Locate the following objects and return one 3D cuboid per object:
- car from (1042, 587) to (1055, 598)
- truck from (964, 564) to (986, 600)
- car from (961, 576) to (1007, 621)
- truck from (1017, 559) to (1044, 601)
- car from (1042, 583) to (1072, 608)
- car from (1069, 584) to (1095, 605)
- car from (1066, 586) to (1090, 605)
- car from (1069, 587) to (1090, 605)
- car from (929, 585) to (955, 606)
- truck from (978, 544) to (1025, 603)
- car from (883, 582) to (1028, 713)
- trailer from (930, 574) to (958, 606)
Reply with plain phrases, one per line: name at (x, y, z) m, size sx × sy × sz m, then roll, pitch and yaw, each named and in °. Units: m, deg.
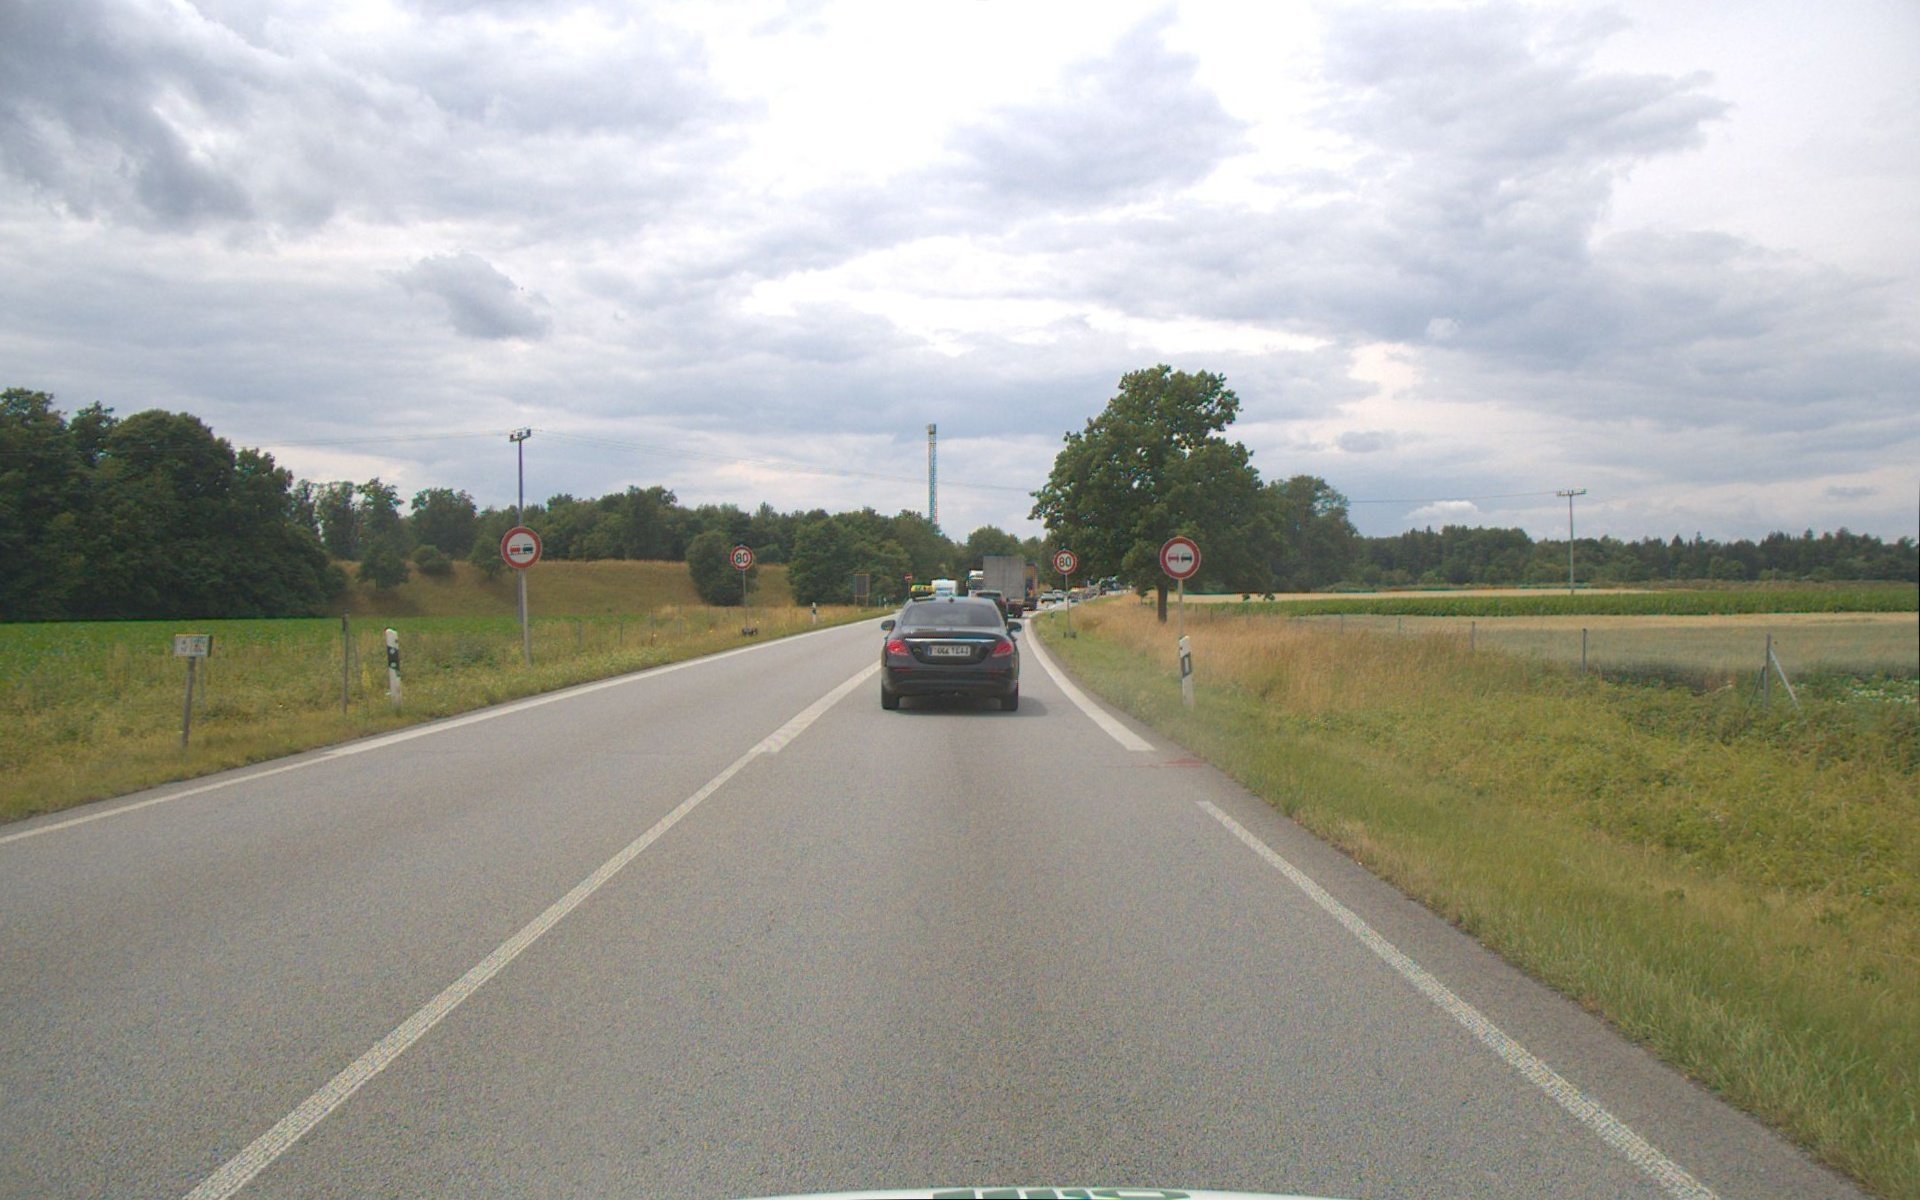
car at (11.378, -0.988, 213.673) m, size 1.615 × 1.420 × 3.707 m, roll 1°, pitch 0°, yaw 3°
truck at (1.766, -2.120, 194.799) m, size 2.438 × 4.065 × 5.206 m, roll 0°, pitch 0°, yaw 2°
car at (1.137, -0.045, 79.157) m, size 1.953 × 2.049 × 3.998 m, roll 1°, pitch 0°, yaw -2°
truck at (6.140, -1.705, 144.695) m, size 1.953 × 3.587 × 4.590 m, roll 1°, pitch 0°, yaw -2°
car at (6.926, -0.290, 118.410) m, size 1.759 × 1.691 × 3.998 m, roll 1°, pitch 0°, yaw -2°
car at (10.181, -0.425, 138.124) m, size 1.759 × 1.691 × 3.998 m, roll 1°, pitch 0°, yaw -2°
car at (10.927, -0.365, 153.354) m, size 1.759 × 1.691 × 3.998 m, roll 1°, pitch 0°, yaw -2°
car at (12.018, -0.413, 166.543) m, size 1.759 × 1.691 × 3.998 m, roll 1°, pitch 0°, yaw -2°
car at (-1.470, -0.357, 135.980) m, size 1.965 × 1.686 × 4.327 m, roll 1°, pitch 0°, yaw 1°
truck at (2.651, -1.625, 103.879) m, size 2.532 × 3.586 × 4.815 m, roll 1°, pitch 0°, yaw 5°
car at (-0.122, 0.592, 22.504) m, size 1.759 × 1.587 × 3.998 m, roll 1°, pitch 0°, yaw -2°
trailer at (-1.302, -0.791, 141.270) m, size 2.137 × 2.620 × 6.244 m, roll 1°, pitch 0°, yaw 1°
